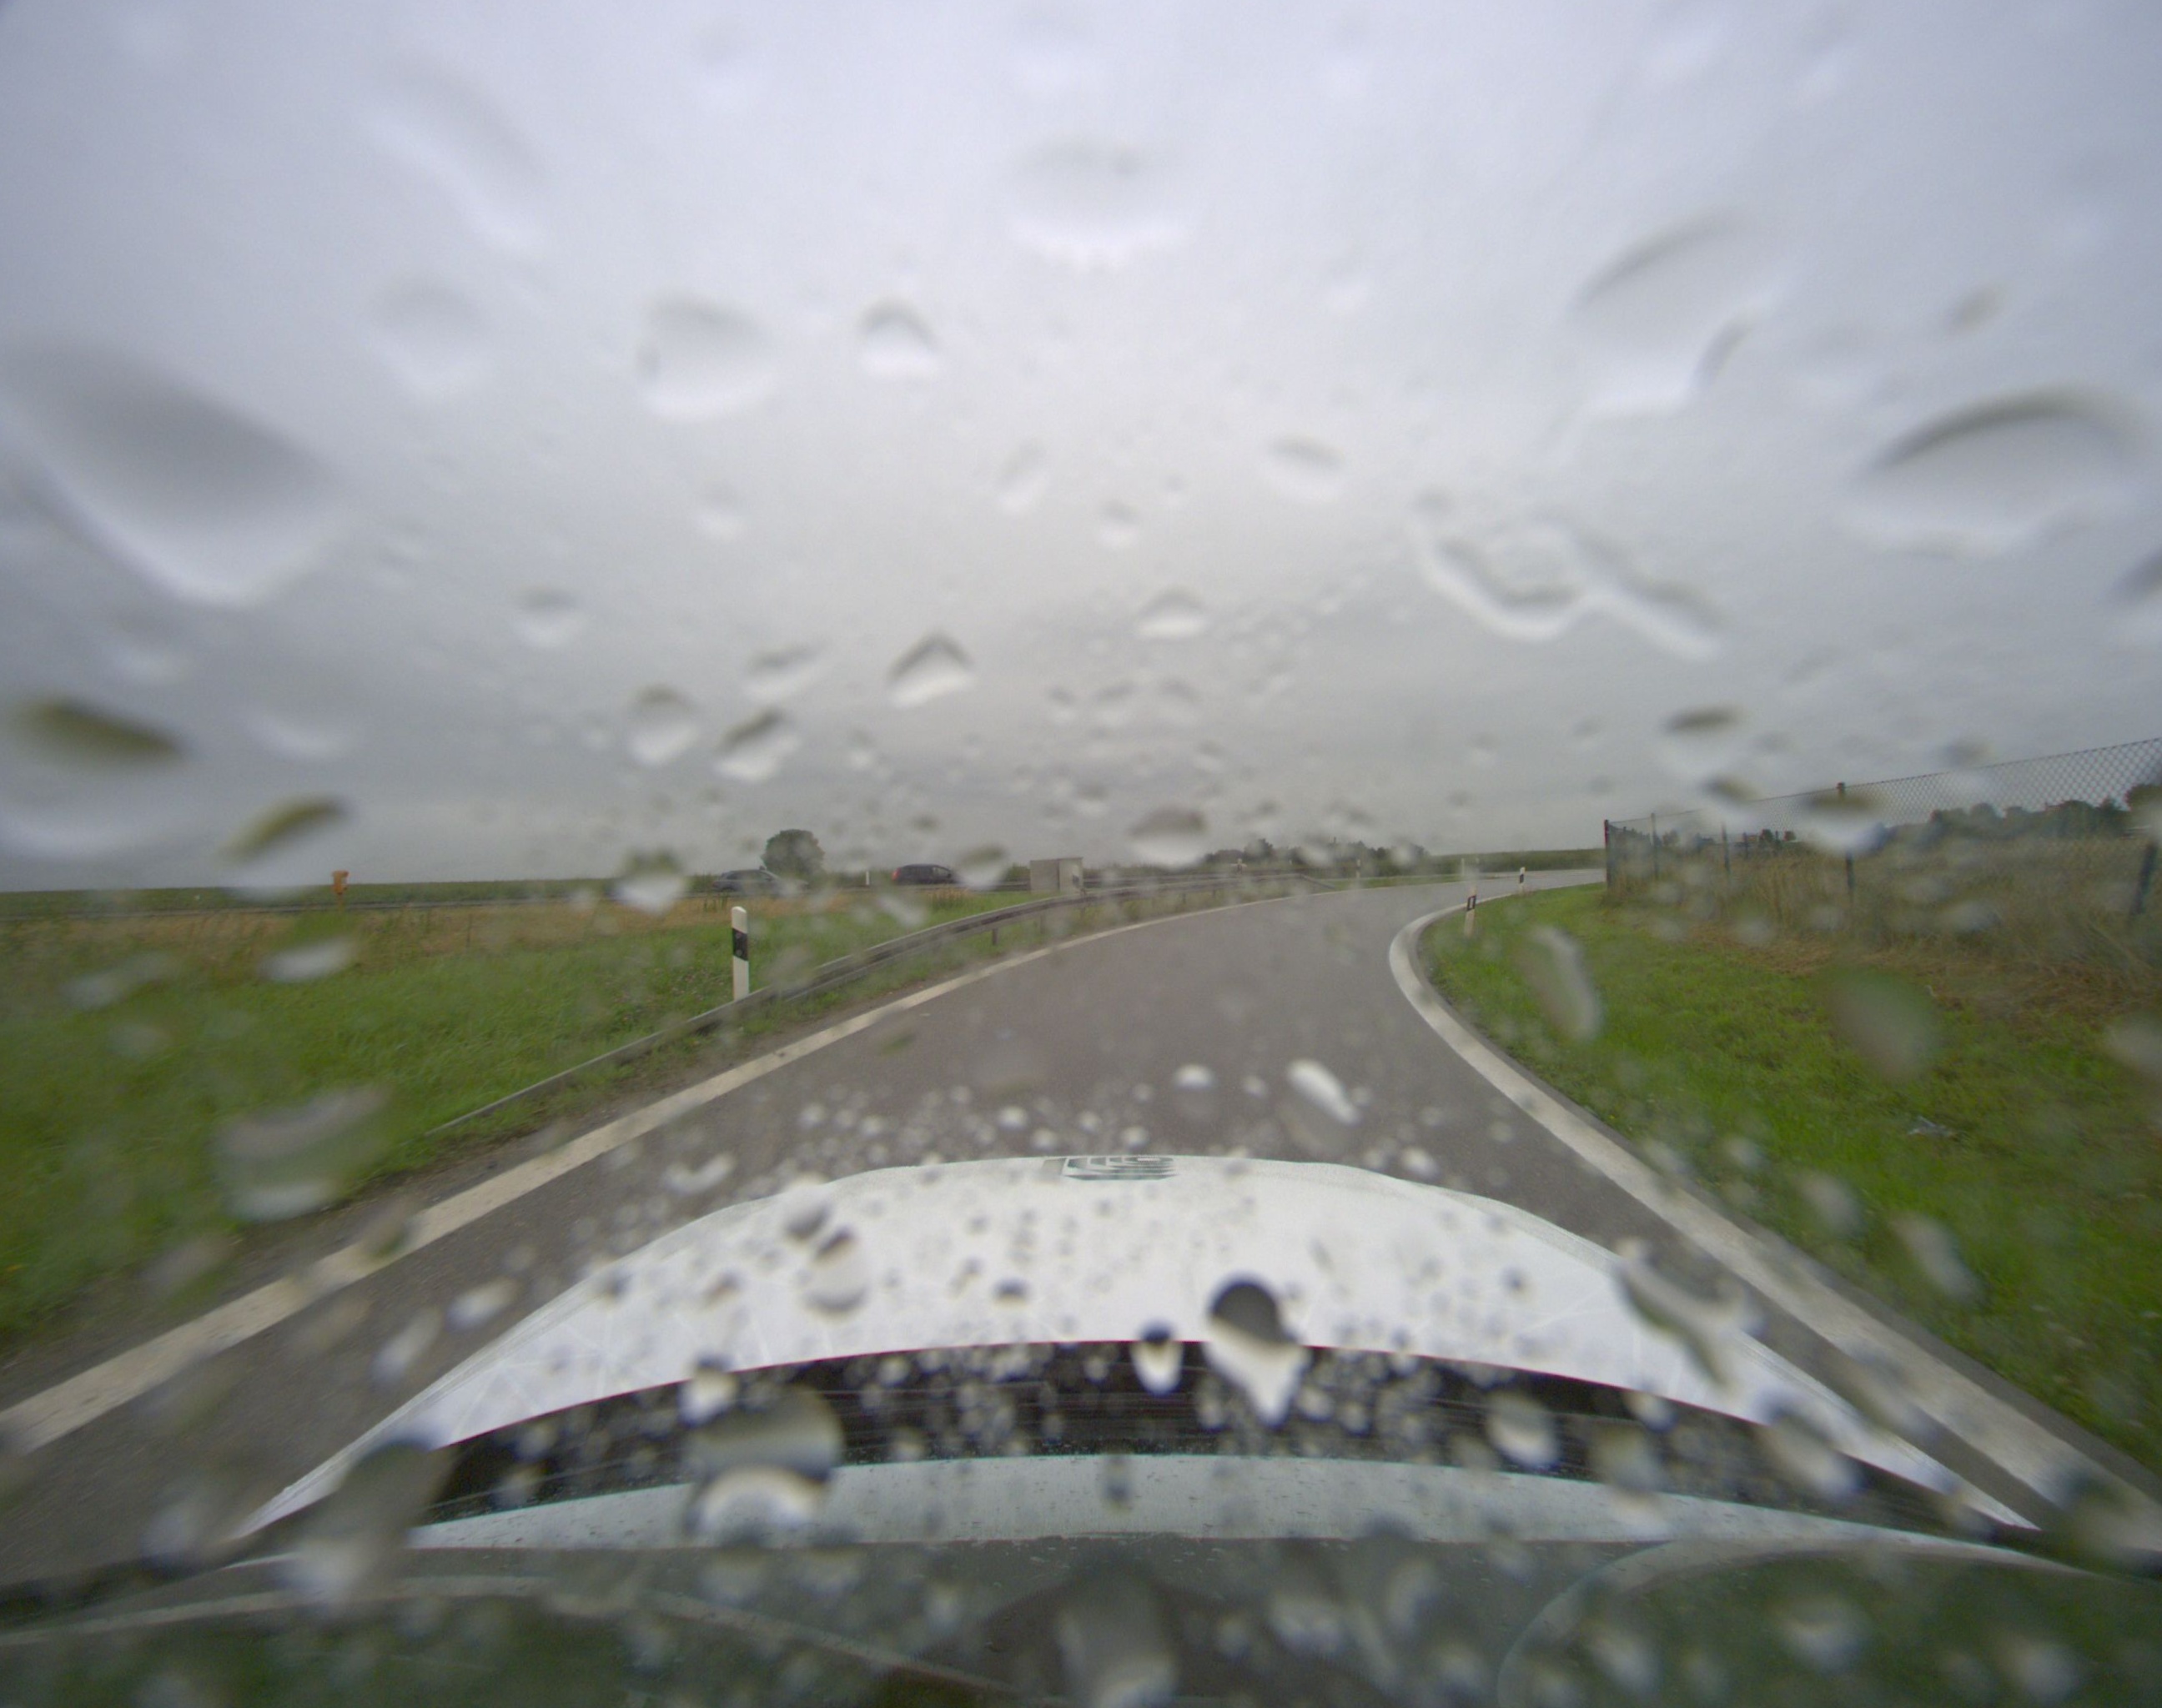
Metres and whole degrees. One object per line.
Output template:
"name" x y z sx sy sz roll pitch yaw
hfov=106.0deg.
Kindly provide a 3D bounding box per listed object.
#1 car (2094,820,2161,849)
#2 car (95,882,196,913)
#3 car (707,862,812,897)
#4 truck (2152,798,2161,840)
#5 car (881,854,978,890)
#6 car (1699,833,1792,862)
"car" 73.225 -1.365 56.443 3.987 1.698 1.993 -4 -3 -9
"car" -60.897 2.799 53.098 3.991 1.736 1.728 -2 0 -13
"car" -16.910 1.330 43.046 4.781 1.636 2.053 -1 -1 -9
"truck" 108.911 -3.479 76.989 13.765 3.966 3.195 -2 1 -9
"car" -7.490 0.873 40.519 4.579 1.636 2.145 -1 -1 -9
"car" 40.756 -0.377 50.016 4.334 1.636 2.053 -1 -1 -9
